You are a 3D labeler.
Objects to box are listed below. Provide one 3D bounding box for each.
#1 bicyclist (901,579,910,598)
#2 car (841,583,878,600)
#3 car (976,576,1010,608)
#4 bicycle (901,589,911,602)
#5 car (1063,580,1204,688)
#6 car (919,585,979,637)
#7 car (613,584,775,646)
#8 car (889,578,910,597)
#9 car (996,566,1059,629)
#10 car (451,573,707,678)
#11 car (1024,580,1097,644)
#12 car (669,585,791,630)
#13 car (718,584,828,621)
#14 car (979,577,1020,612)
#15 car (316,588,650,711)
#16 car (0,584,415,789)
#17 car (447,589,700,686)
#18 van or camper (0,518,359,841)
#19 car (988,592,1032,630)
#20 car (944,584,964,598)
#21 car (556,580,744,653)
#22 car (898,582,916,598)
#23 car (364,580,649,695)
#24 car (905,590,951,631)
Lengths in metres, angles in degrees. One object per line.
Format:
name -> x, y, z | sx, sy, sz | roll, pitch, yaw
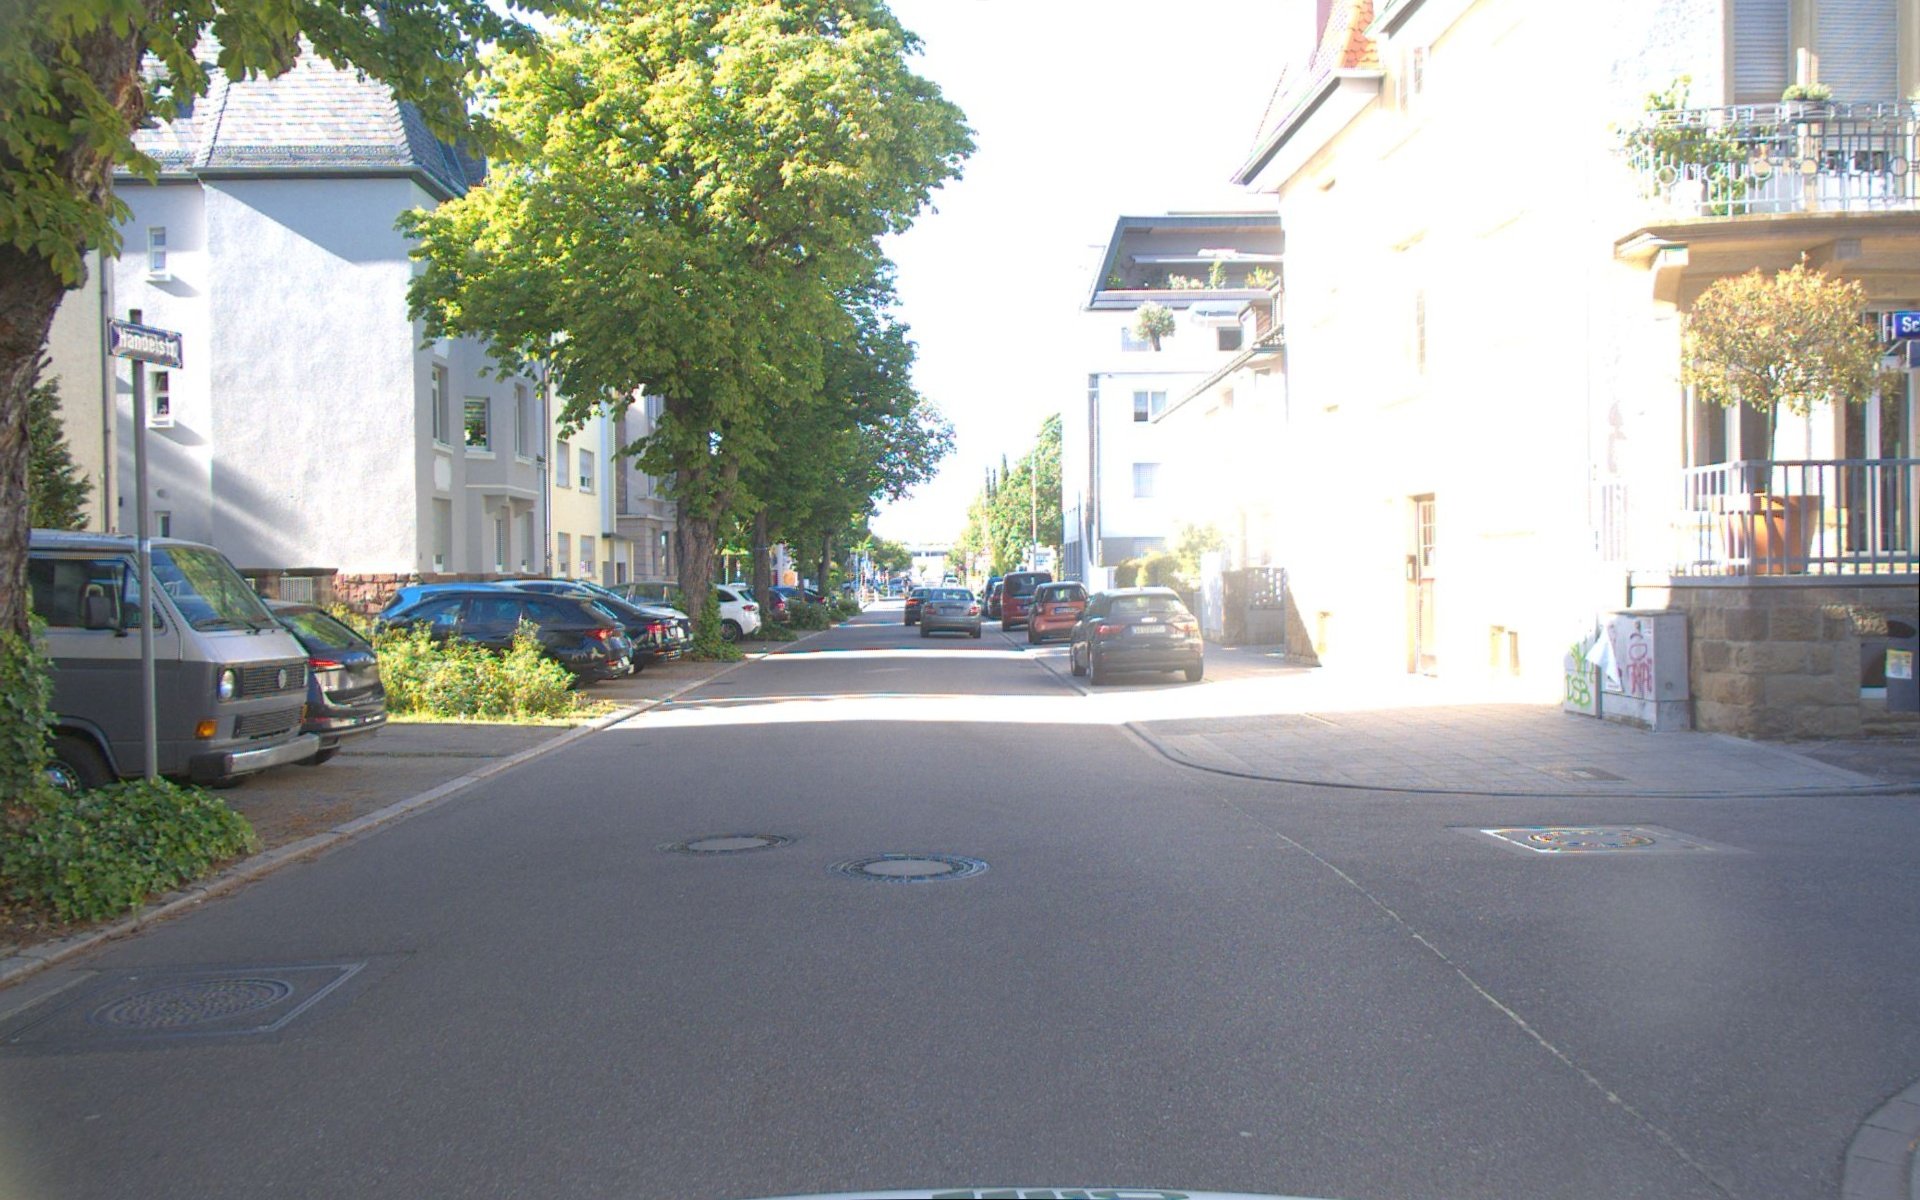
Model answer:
bicyclist -> -4.487, -0.923, 136.733 | 0.706, 1.563, 1.137 | -1, 0, -1
car -> -9.640, -0.802, 158.983 | 3.428, 1.560, 1.642 | -1, 0, -8
car -> 1.625, -0.394, 82.321 | 1.532, 1.435, 3.729 | -5, 0, 0
bicycle -> -4.453, -0.366, 136.677 | 0.705, 1.098, 1.890 | -1, 1, 0
car -> 2.680, 0.473, 26.304 | 1.587, 1.464, 3.933 | -4, 1, -3
car -> -0.308, 0.326, 48.586 | 1.691, 1.445, 3.960 | 1, 0, 0
car -> -6.893, 0.377, 43.195 | 3.941, 1.510, 1.806 | 1, 1, -2
car -> -5.992, -1.242, 164.508 | 1.836, 1.758, 3.996 | -1, 1, -5
car -> 2.216, -0.082, 55.457 | 1.833, 1.938, 5.197 | -2, 0, 0
car -> -7.056, 0.447, 30.950 | 4.296, 1.680, 1.823 | -2, 2, 0
car -> 2.552, 0.285, 42.737 | 1.560, 1.506, 3.246 | -3, 1, -1
car -> -7.704, 0.244, 55.688 | 3.906, 1.446, 1.771 | 0, 2, -2
car -> -7.702, 0.105, 68.424 | 4.384, 1.505, 1.867 | 0, 0, -3
car -> 1.846, -0.251, 77.709 | 1.648, 1.459, 4.265 | -5, 0, -1
car -> -6.549, 0.656, 23.059 | 4.103, 1.525, 1.861 | -1, 1, -2
car -> -6.714, 0.662, 13.648 | 3.864, 1.524, 1.662 | 0, 2, 1
car -> -6.540, 0.614, 28.283 | 3.906, 1.494, 1.696 | -1, 1, -2
van or camper -> -6.606, 0.500, 11.082 | 4.406, 1.948, 1.964 | -1, 0, -1
car -> 2.168, 0.470, 72.091 | 1.701, 1.558, 4.178 | -1, 1, -1
car -> -0.650, -0.926, 166.930 | 1.689, 1.353, 3.996 | -1, 1, -5
car -> -7.103, 0.362, 38.134 | 3.904, 1.602, 1.981 | 0, 1, 2
car -> -6.041, -1.116, 187.421 | 1.753, 1.558, 3.996 | -5, -1, -5
car -> -6.968, 0.554, 25.719 | 3.907, 1.620, 1.877 | -1, 1, -3
car -> -1.171, 0.404, 62.255 | 1.672, 1.473, 4.202 | 1, 0, 0
